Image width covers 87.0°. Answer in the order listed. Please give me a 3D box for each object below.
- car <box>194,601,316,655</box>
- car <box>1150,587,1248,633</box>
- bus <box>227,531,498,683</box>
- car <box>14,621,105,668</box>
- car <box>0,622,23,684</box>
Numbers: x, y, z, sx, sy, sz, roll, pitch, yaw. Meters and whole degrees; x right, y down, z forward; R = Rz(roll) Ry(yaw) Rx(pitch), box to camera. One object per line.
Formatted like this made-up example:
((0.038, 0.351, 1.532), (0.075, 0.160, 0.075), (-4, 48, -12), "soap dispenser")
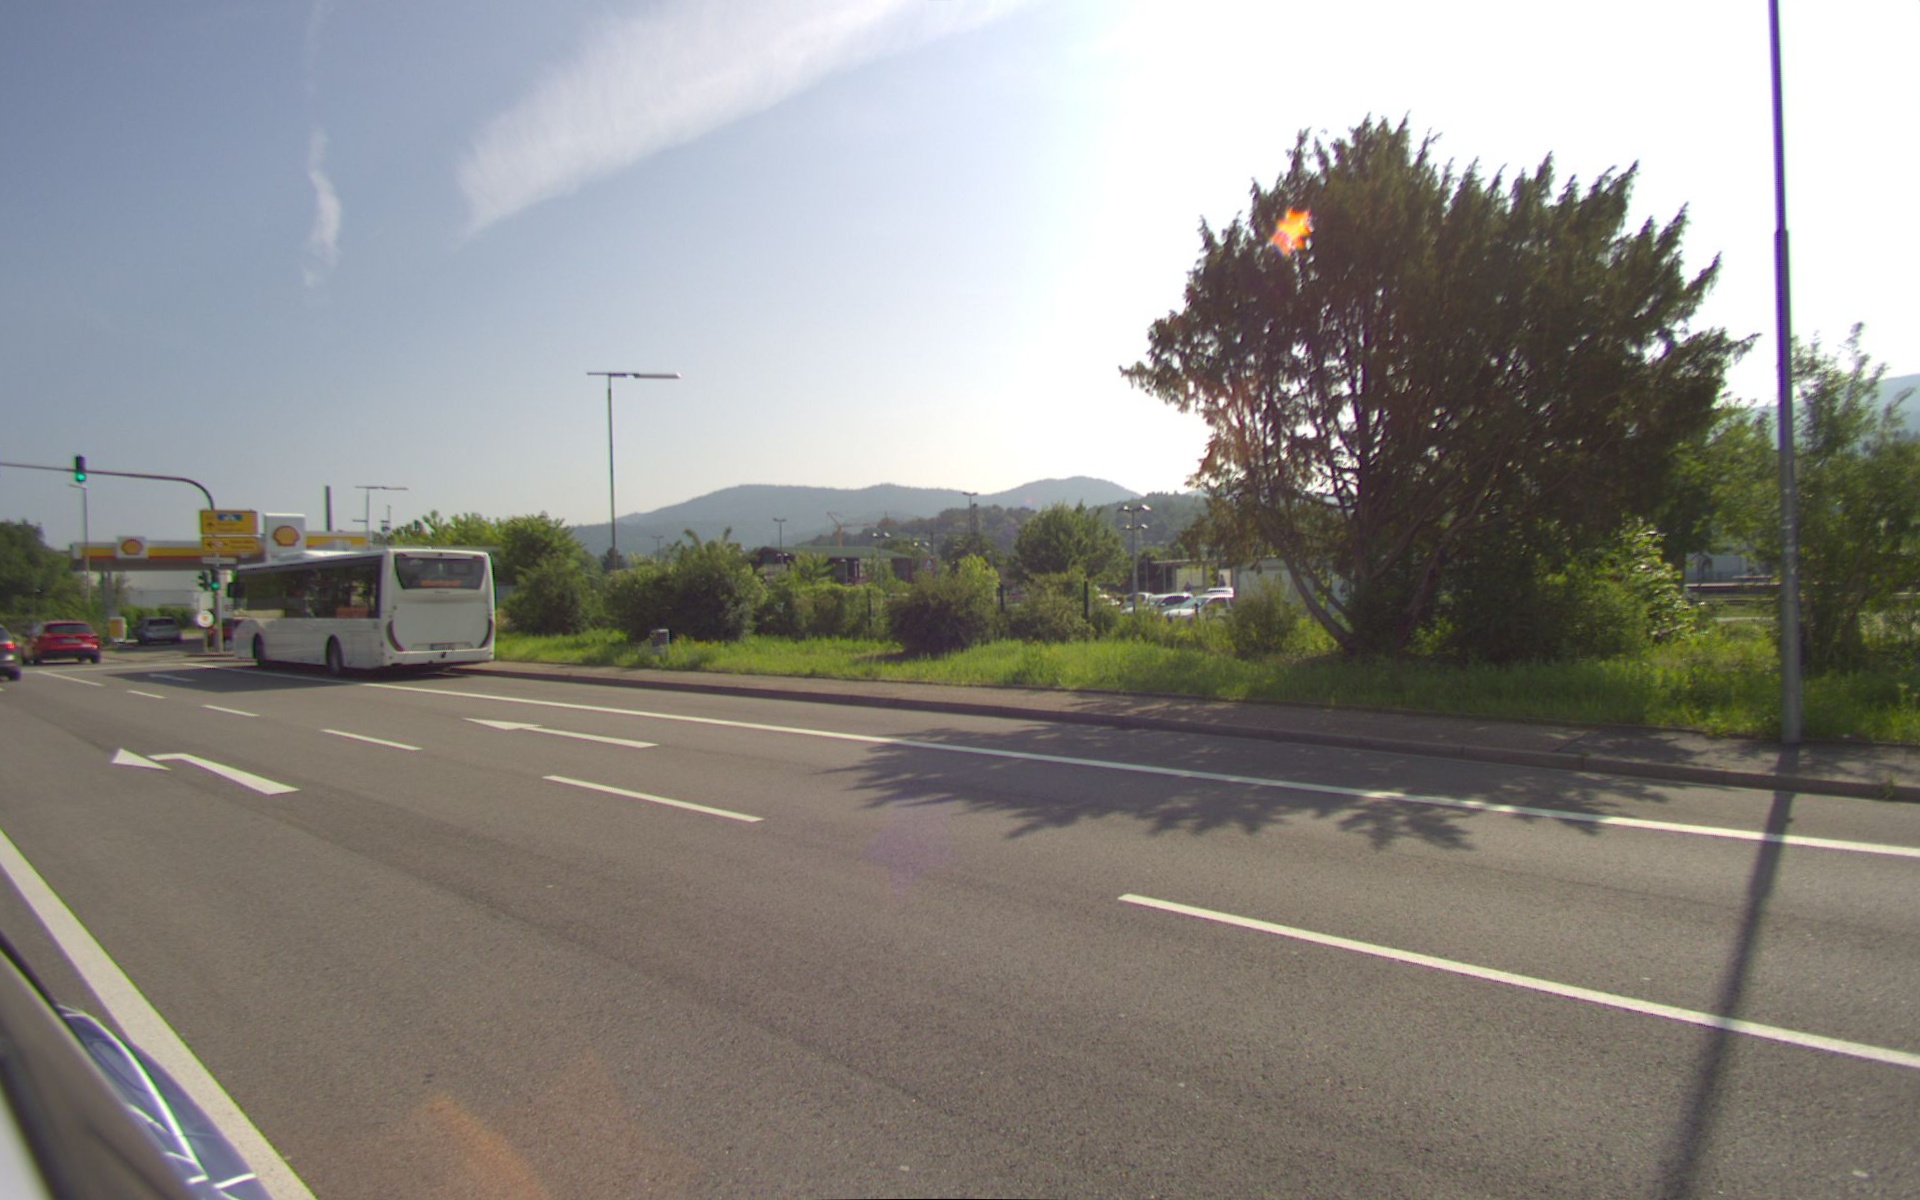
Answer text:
((-28.597, 1.098, 41.109), (3.732, 1.808, 1.703), (-6, 3, -44), "car")
((8.667, 0.333, 36.535), (1.997, 1.563, 3.950), (-1, 0, 37), "car")
((-16.377, 0.231, 27.051), (11.950, 3.335, 2.593), (-1, 0, 41), "bus")
((-31.337, 1.507, 35.186), (4.429, 1.503, 1.818), (-1, 0, 41), "car")
((-24.989, 1.322, 25.437), (4.218, 1.484, 1.753), (-1, 0, 42), "car")
